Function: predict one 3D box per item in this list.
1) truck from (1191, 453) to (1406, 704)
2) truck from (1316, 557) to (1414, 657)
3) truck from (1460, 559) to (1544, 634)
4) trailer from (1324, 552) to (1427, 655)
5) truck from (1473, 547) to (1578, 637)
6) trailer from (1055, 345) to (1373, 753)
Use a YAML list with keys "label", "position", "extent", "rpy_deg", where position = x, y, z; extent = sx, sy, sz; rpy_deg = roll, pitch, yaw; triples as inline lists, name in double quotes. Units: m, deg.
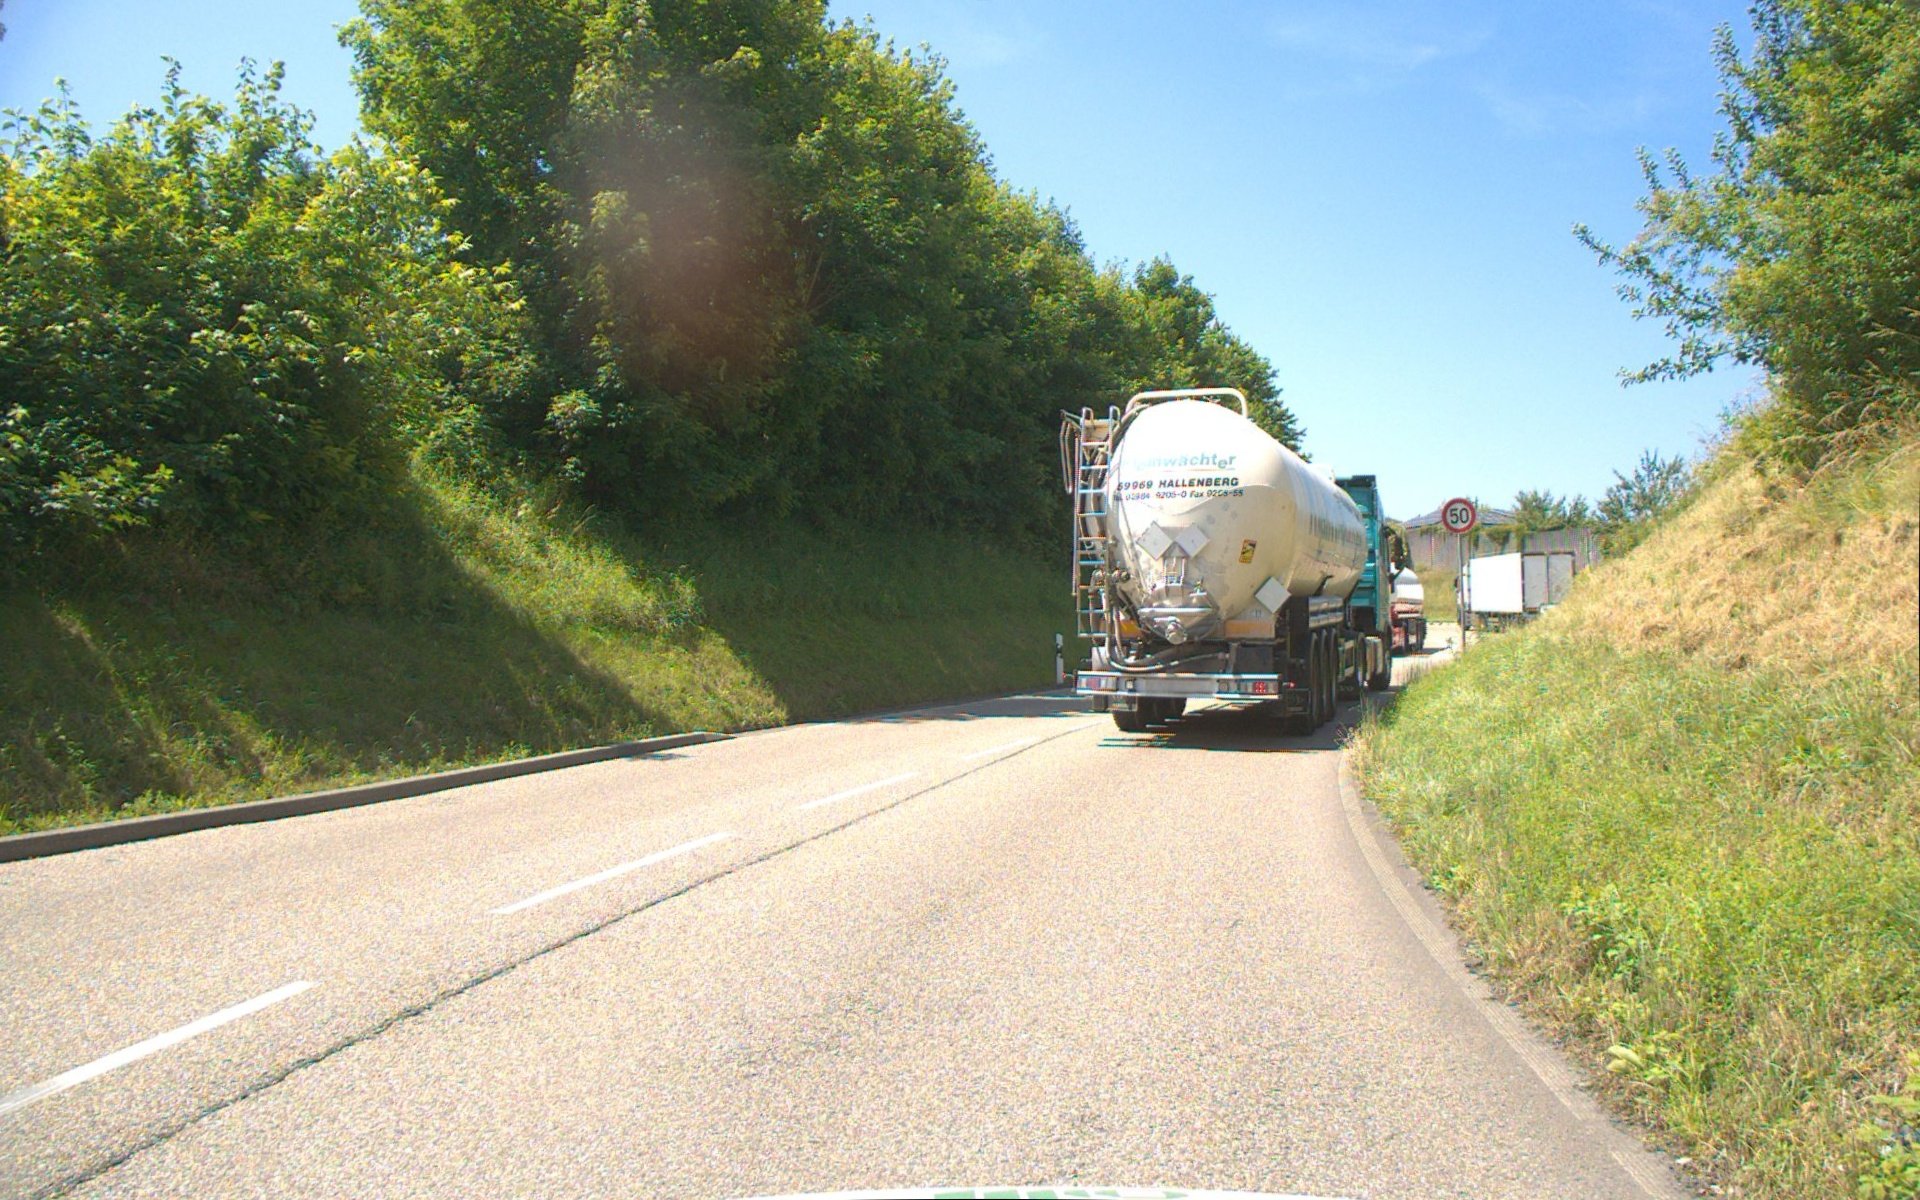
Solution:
- label: "truck"
  position: [6.360, -0.280, 30.149]
  extent: [2.671, 3.999, 7.263]
  rpy_deg: [-1, -1, 21]
- label: "truck"
  position: [14.116, 0.276, 57.355]
  extent: [2.571, 3.226, 7.070]
  rpy_deg: [-1, -1, 19]
- label: "truck"
  position: [30.271, -0.203, 92.648]
  extent: [3.122, 4.002, 8.258]
  rpy_deg: [0, 0, 9]
- label: "trailer"
  position: [15.565, 0.183, 61.395]
  extent: [2.578, 3.432, 11.145]
  rpy_deg: [-1, -1, 20]
- label: "truck"
  position: [29.500, -0.394, 86.788]
  extent: [3.122, 4.385, 11.809]
  rpy_deg: [0, 0, 9]
- label: "trailer"
  position: [4.090, -0.489, 23.353]
  extent: [2.605, 4.262, 11.909]
  rpy_deg: [0, -1, 18]
